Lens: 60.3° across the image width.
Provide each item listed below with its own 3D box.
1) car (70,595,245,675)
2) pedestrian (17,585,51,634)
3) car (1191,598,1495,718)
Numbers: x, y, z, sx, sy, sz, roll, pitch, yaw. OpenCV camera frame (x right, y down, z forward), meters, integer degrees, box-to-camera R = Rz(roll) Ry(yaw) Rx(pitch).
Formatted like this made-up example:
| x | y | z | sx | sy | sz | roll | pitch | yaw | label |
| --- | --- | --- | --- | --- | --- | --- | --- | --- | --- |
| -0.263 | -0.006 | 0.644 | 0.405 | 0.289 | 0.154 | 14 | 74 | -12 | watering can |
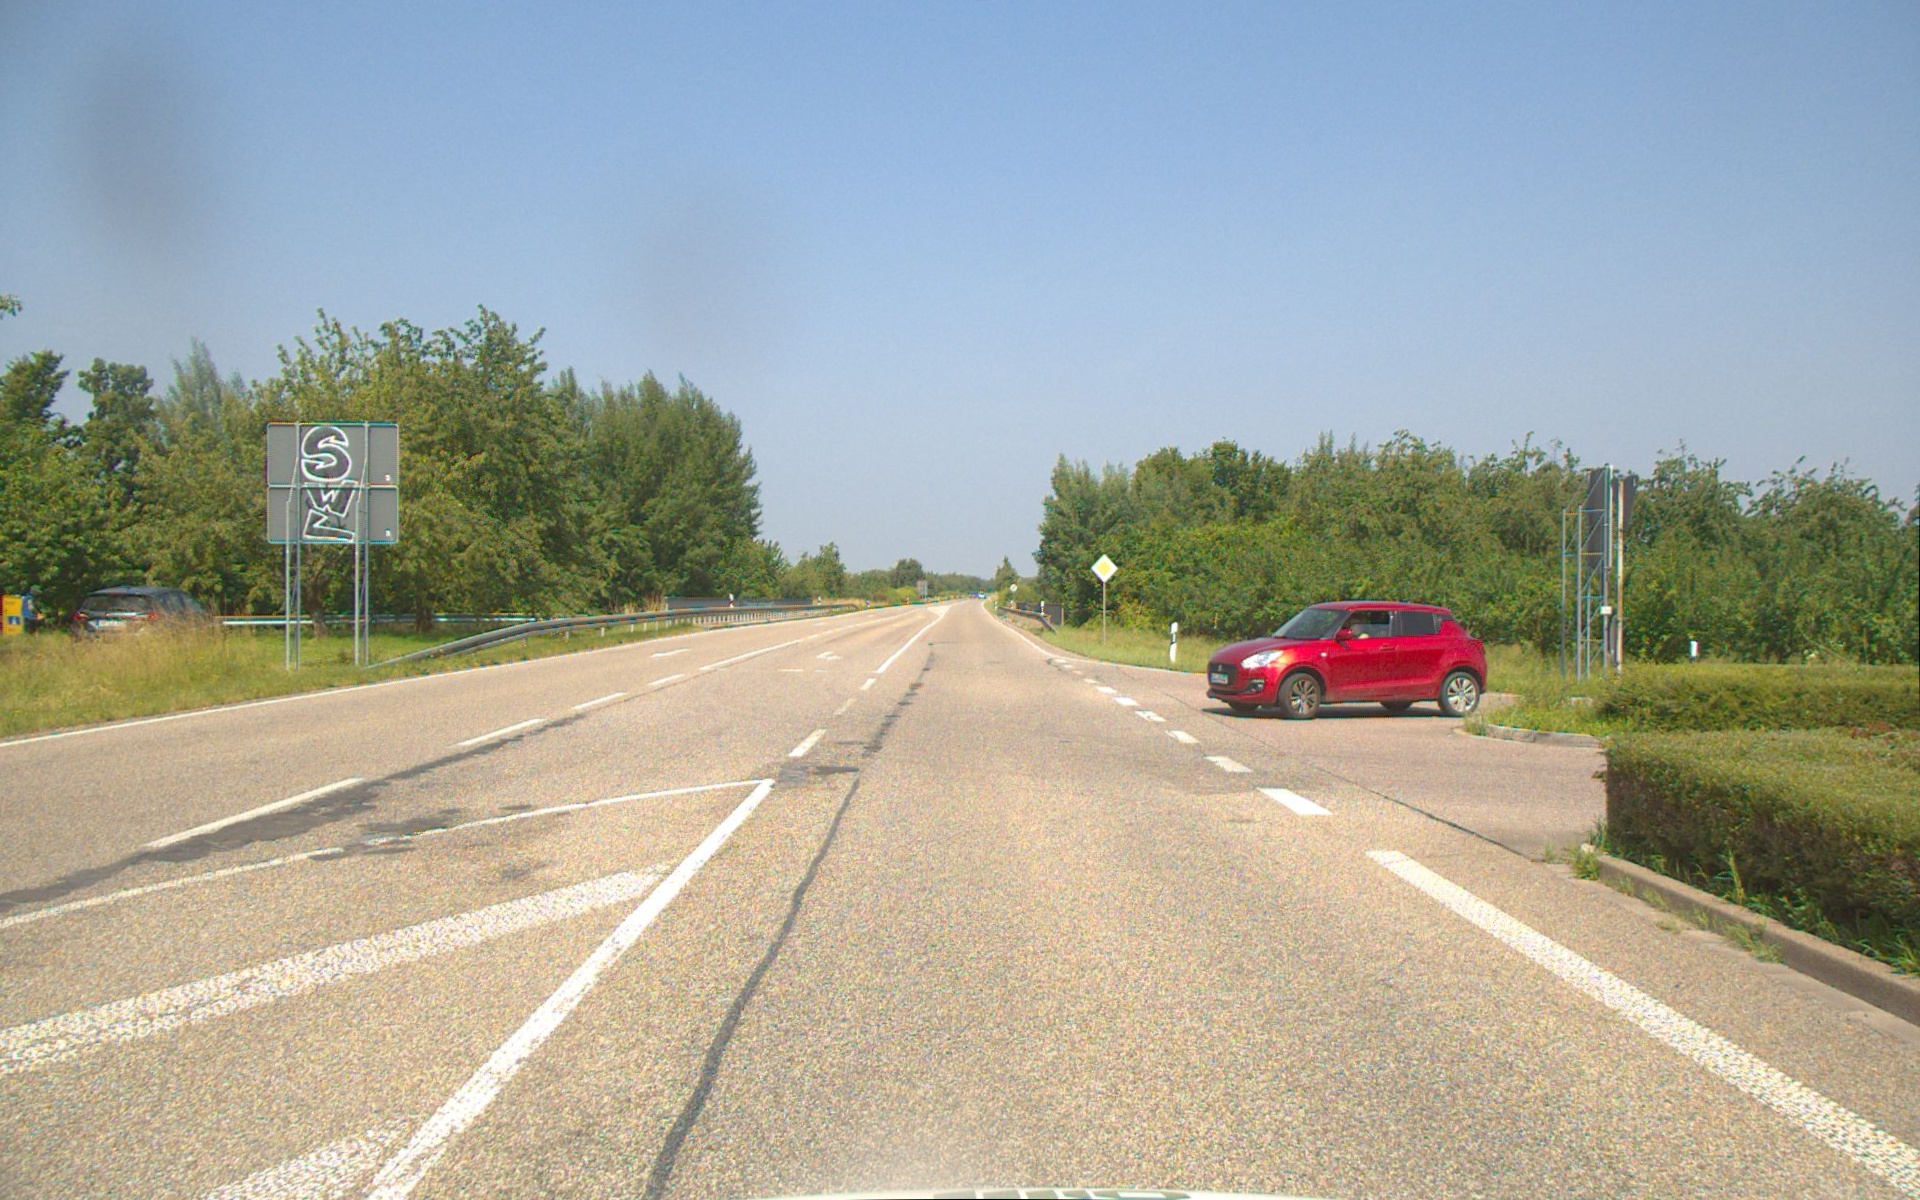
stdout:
| x | y | z | sx | sy | sz | roll | pitch | yaw | label |
| --- | --- | --- | --- | --- | --- | --- | --- | --- | --- |
| -15.290 | 0.623 | 31.743 | 1.671 | 1.448 | 4.039 | 0 | 0 | -5 | car |
| -24.842 | 0.251 | 44.364 | 0.561 | 1.320 | 0.556 | 1 | 0 | 1 | pedestrian |
| 5.166 | 0.770 | 22.385 | 3.682 | 1.519 | 1.663 | 1 | 0 | -18 | car |
